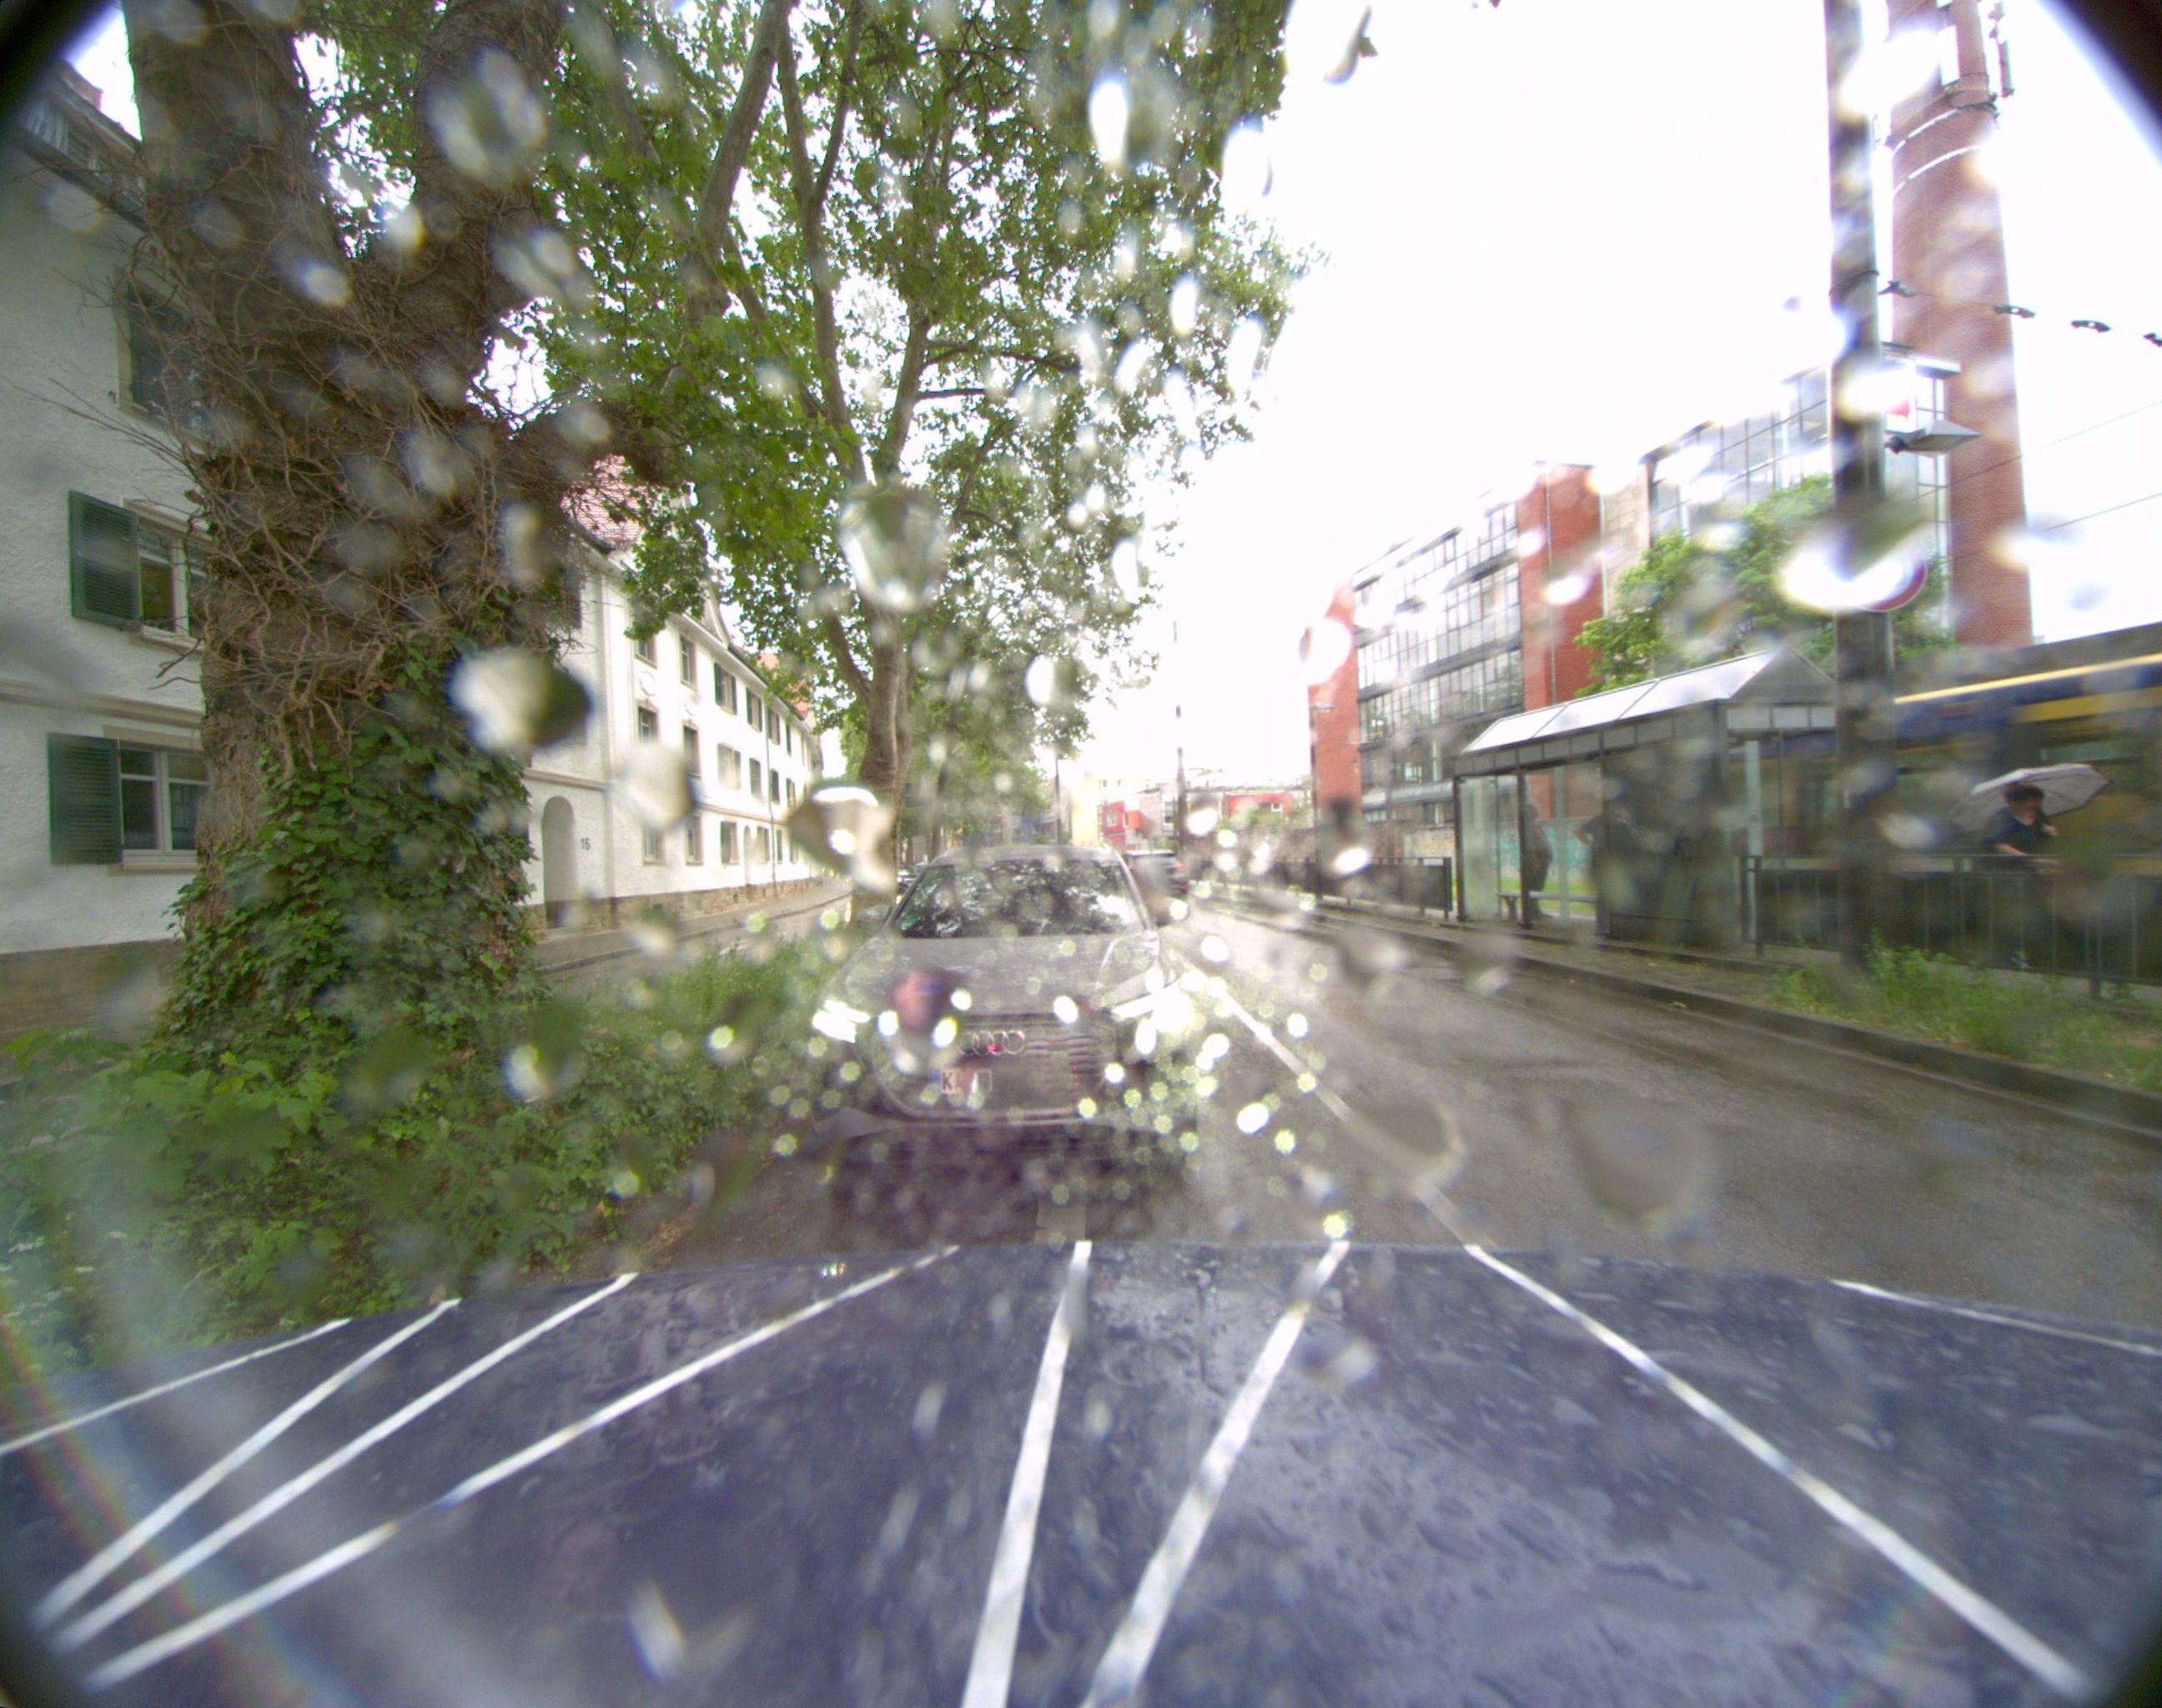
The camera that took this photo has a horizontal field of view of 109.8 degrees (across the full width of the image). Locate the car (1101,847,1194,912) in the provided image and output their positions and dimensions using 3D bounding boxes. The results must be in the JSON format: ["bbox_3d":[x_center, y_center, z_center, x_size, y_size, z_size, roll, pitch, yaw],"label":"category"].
[{"bbox_3d":[1.846,0.693,22.602,1.809,1.673,4.601,-2,0,-7],"label":"car"}]

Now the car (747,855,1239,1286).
[{"bbox_3d":[-0.409,0.871,5.126,1.917,1.632,4.106,-2,0,-2],"label":"car"}]

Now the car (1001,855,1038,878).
[{"bbox_3d":[-4.620,0.911,56.634,1.758,1.582,4.229,-3,0,-18],"label":"car"}]

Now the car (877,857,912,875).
[{"bbox_3d":[-23.211,1.504,94.663,4.002,2.002,1.997,-2,0,-17],"label":"car"}]

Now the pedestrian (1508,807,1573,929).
[{"bbox_3d":[6.778,0.200,11.228,0.629,1.738,0.514,-2,1,9],"label":"pedestrian"}]

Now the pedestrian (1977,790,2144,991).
[{"bbox_3d":[8.144,0.298,6.336,0.798,1.588,0.506,0,-2,-10],"label":"pedestrian"}]

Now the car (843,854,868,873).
[{"bbox_3d":[-28.688,1.266,96.558,2.199,2.250,5.401,-3,0,-24],"label":"car"}]

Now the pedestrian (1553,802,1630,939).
[{"bbox_3d":[6.737,0.215,10.051,0.629,1.738,0.564,-2,1,9],"label":"pedestrian"}]

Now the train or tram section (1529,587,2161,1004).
[{"bbox_3d":[10.670,-0.539,6.032,2.869,3.525,15.359,-2,0,-10],"label":"train or tram section"}]

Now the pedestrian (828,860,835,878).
[{"bbox_3d":[-27.041,1.623,82.286,0.674,1.811,0.678,-3,1,-18],"label":"pedestrian"}]

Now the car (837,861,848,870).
[{"bbox_3d":[-53.015,2.508,168.777,2.002,2.001,3.993,3,-1,-20],"label":"car"}]

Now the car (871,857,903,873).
[{"bbox_3d":[-26.669,1.540,104.367,4.002,2.002,1.997,-2,0,-17],"label":"car"}]

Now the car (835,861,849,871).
[{"bbox_3d":[-36.356,1.805,115.594,1.834,1.517,3.993,-3,1,-19],"label":"car"}]
